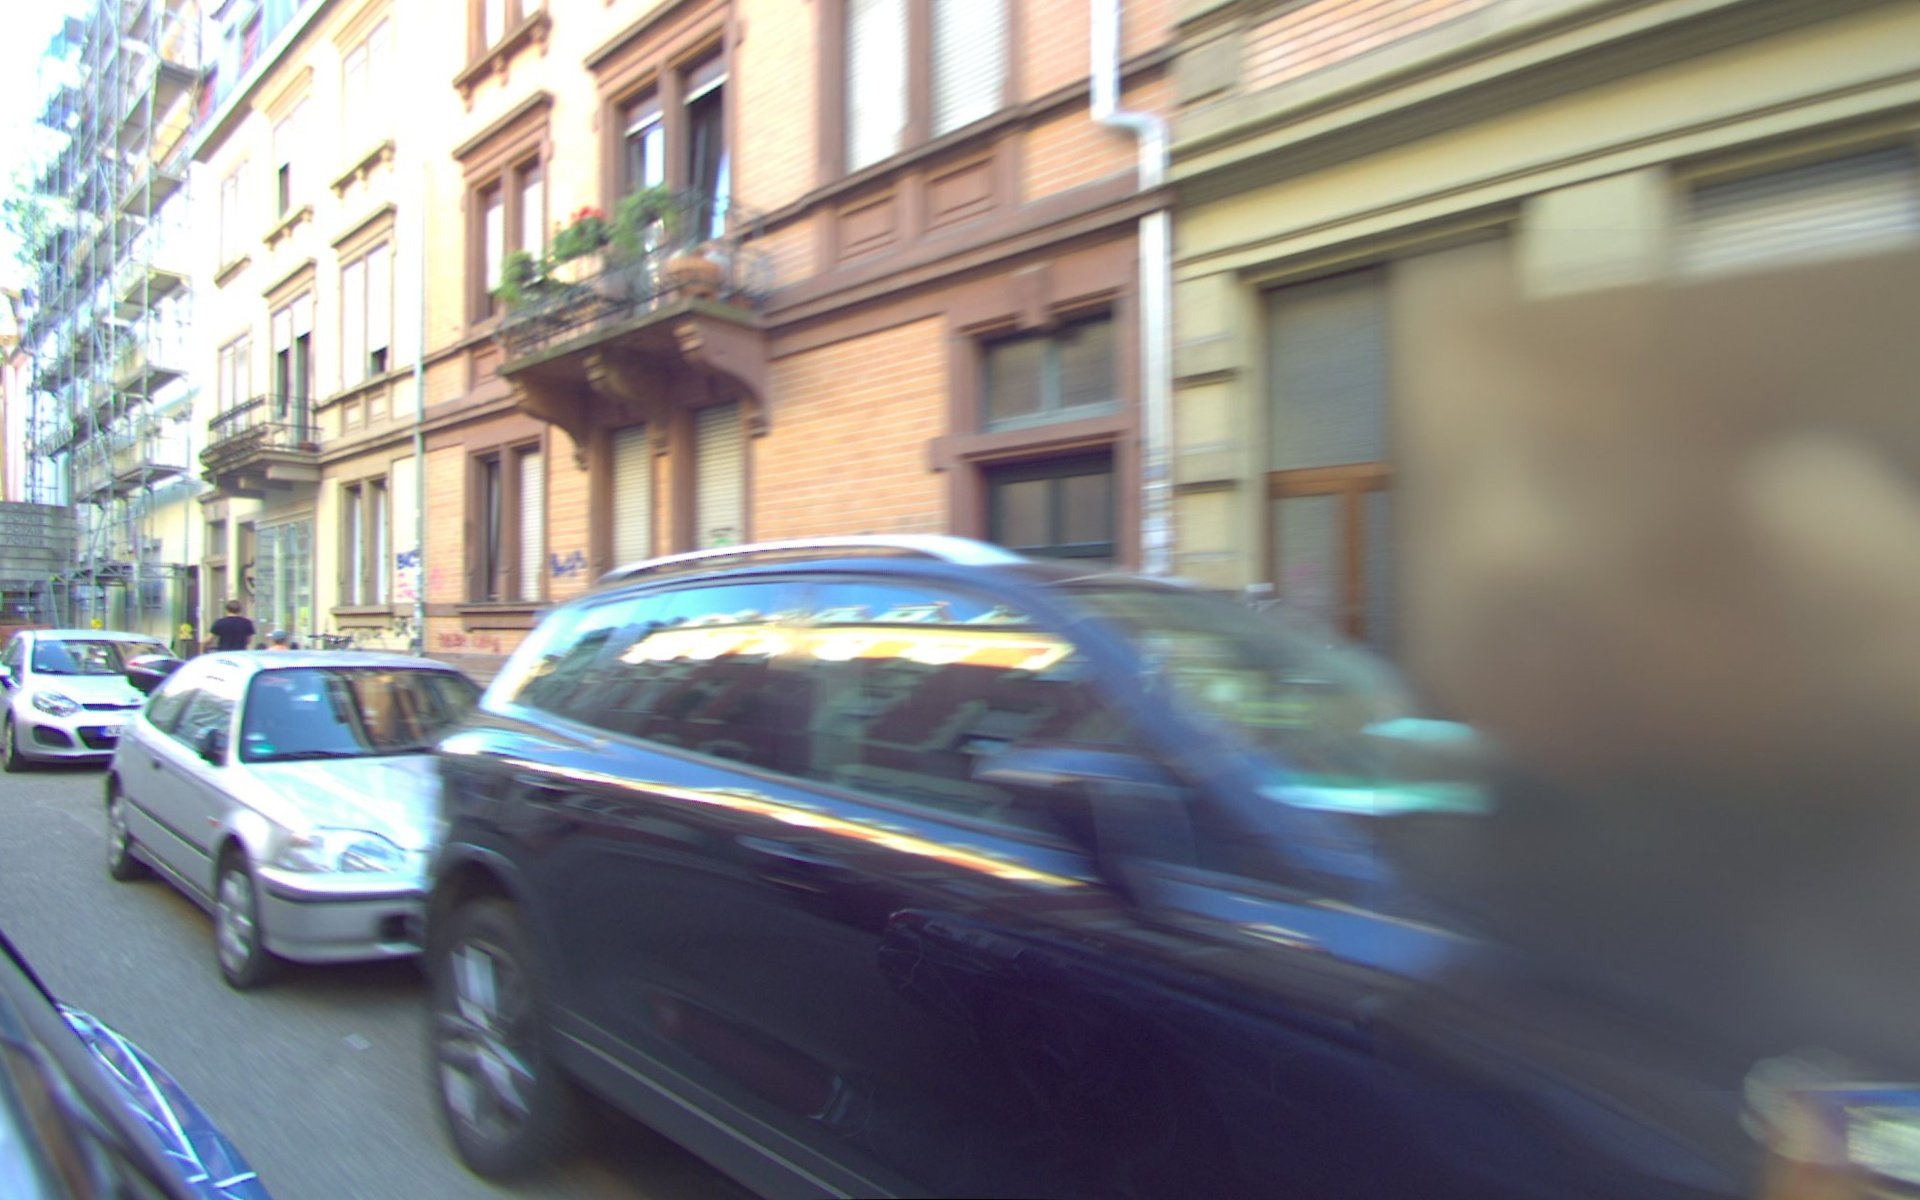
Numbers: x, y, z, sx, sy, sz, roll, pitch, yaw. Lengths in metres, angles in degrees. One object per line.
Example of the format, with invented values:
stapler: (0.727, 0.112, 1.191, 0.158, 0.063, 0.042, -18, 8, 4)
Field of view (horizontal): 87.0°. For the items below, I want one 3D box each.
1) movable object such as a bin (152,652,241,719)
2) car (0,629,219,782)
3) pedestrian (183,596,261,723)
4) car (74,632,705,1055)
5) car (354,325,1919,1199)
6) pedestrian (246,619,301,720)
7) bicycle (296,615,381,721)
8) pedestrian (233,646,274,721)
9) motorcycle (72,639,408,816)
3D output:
movable object such as a bin: (-11.715, 1.290, 15.528, 1.413, 0.939, 0.754, -1, -2, 38)
car: (-9.976, 1.060, 11.422, 3.997, 1.430, 1.657, -1, -3, 40)
pedestrian: (-10.809, 0.853, 14.827, 0.886, 1.778, 0.679, -1, -2, 37)
car: (-3.284, 0.910, 5.462, 3.998, 1.323, 1.681, -1, 2, 41)
car: (0.387, 0.611, 2.344, 4.606, 1.636, 1.769, -1, 0, 42)
pedestrian: (-9.128, 0.906, 13.461, 0.646, 1.293, 0.445, -1, 0, 41)
bicycle: (-9.023, 0.944, 14.674, 1.711, 1.436, 0.519, -1, 2, 42)
pedestrian: (-10.576, 1.240, 15.149, 0.431, 1.095, 0.390, -1, -1, 35)
motorcycle: (-6.029, 1.050, 8.590, 2.165, 1.370, 0.844, 2, -3, -2)
